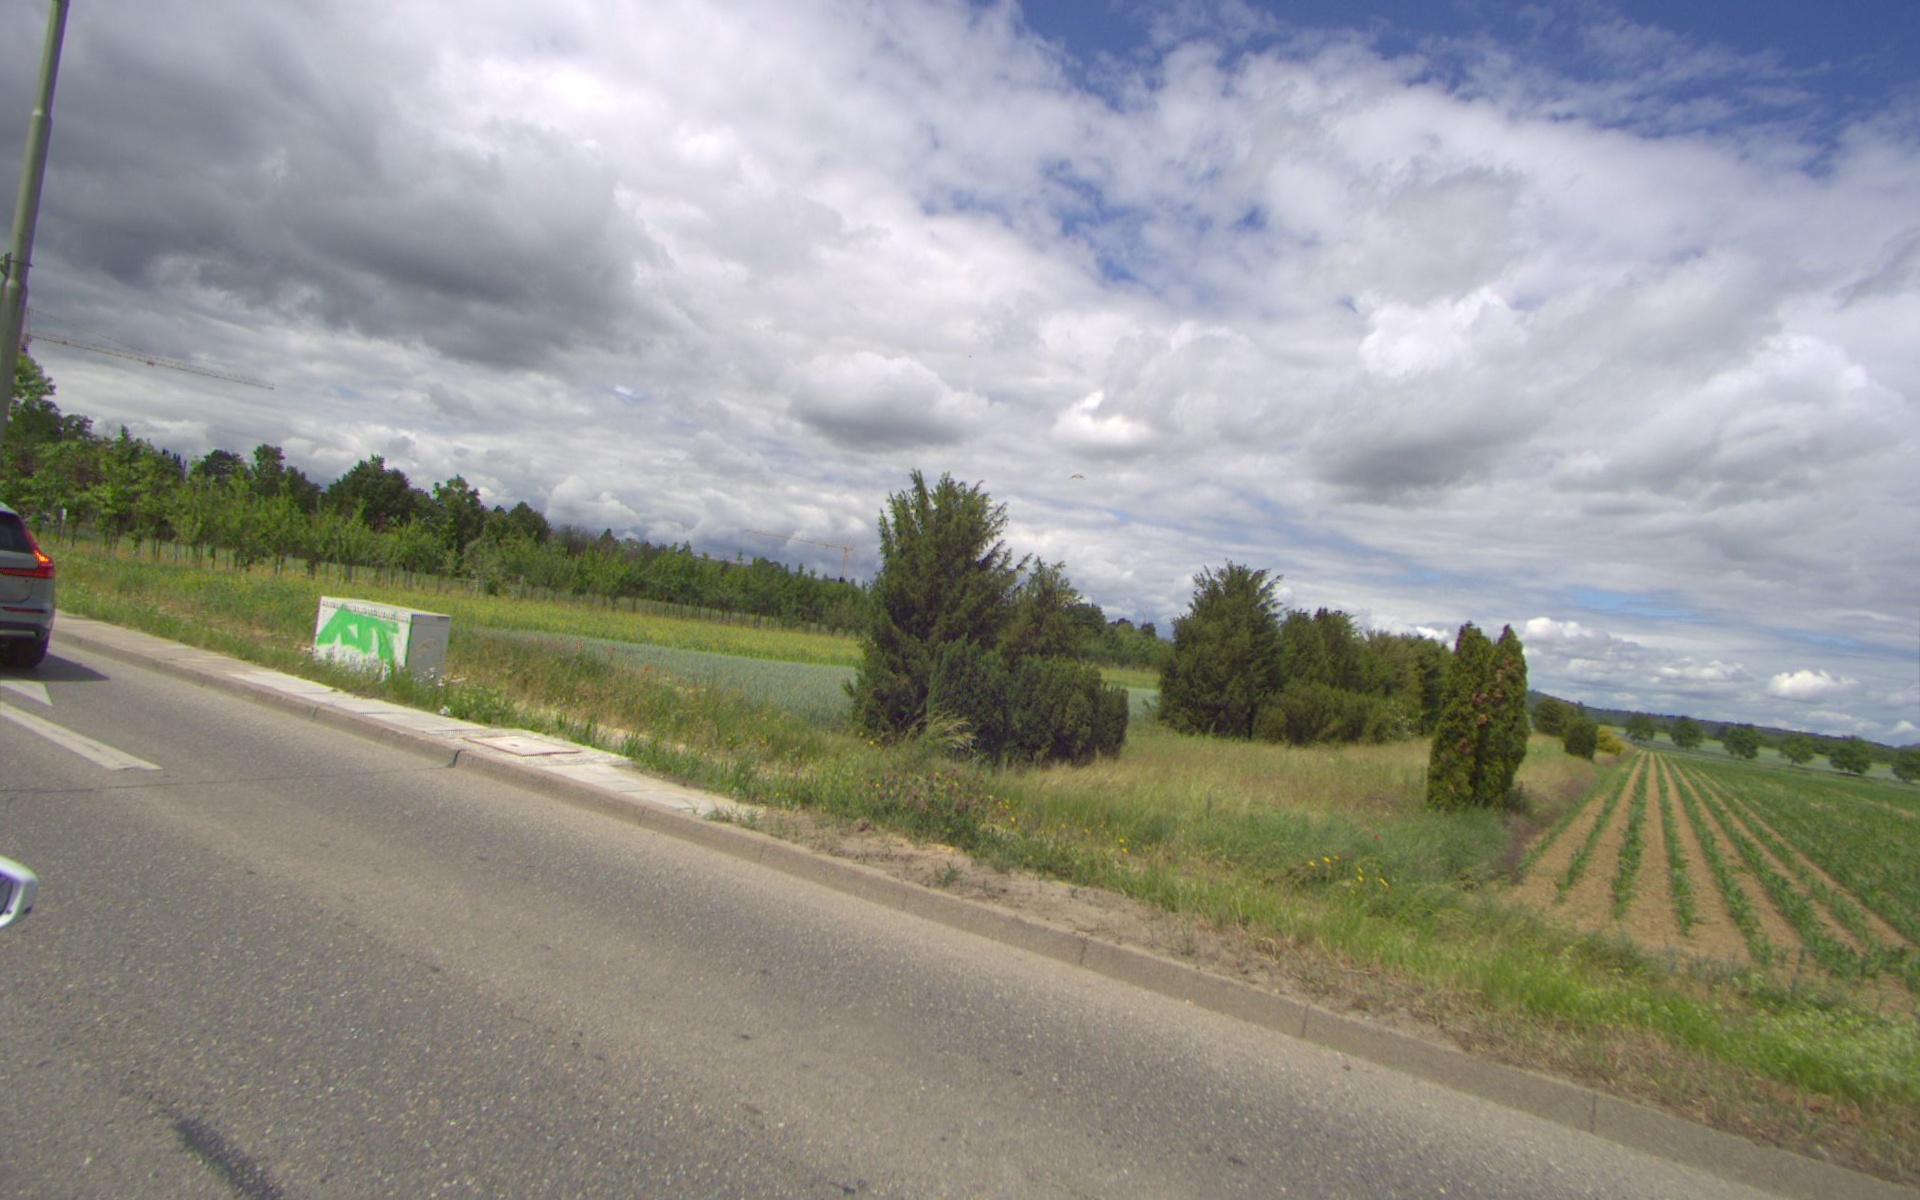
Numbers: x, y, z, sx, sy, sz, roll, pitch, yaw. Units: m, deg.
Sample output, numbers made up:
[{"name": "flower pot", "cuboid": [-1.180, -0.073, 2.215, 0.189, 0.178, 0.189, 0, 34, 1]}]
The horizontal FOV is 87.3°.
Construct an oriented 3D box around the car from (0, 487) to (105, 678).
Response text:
[{"name": "car", "cuboid": [-9.748, -0.342, 8.970, 4.268, 1.544, 1.960, 6, 0, 32]}]
